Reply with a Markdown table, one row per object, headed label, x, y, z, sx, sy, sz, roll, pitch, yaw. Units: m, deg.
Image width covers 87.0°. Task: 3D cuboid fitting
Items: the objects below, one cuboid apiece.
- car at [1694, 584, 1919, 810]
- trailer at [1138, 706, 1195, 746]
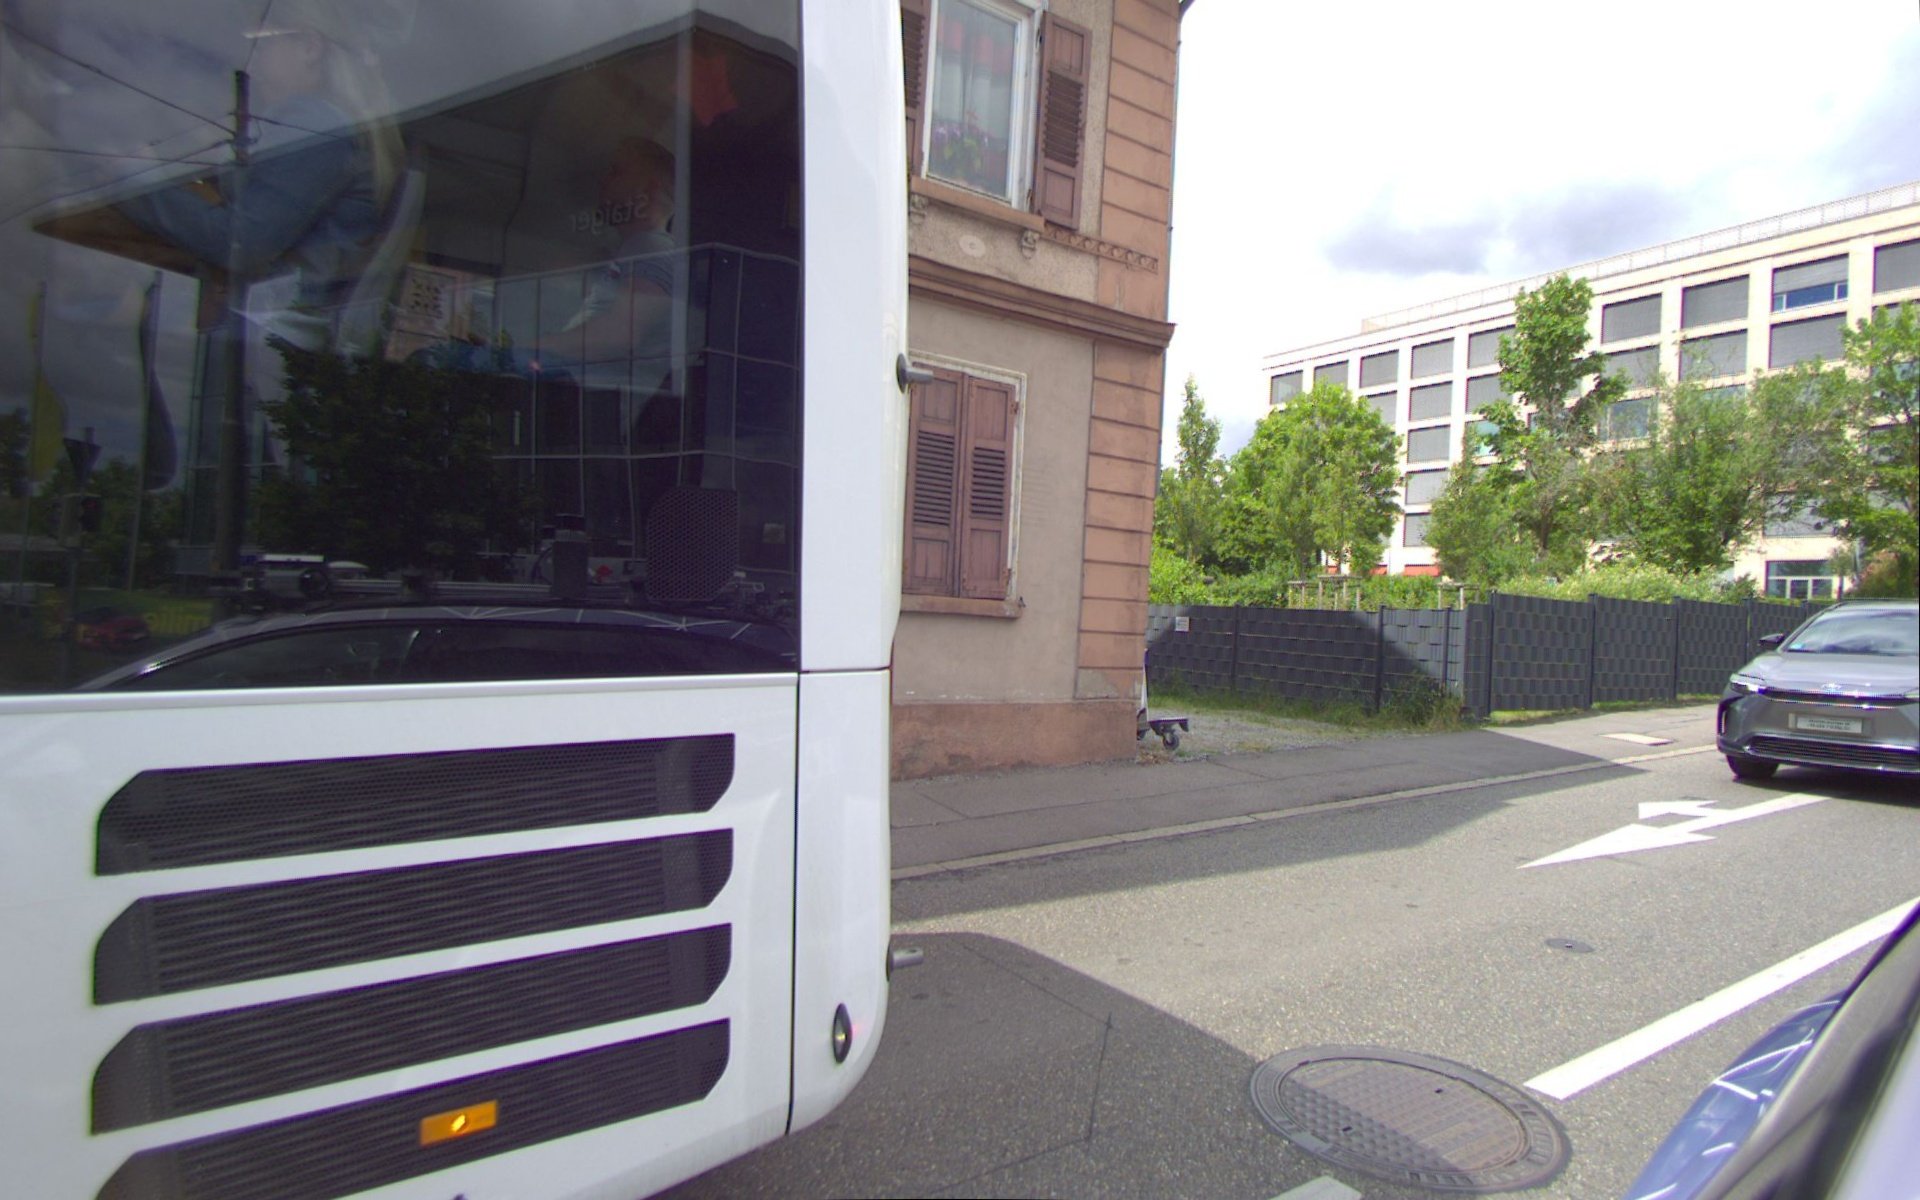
| label | x | y | z | sx | sy | sz | roll | pitch | yaw |
| --- | --- | --- | --- | --- | --- | --- | --- | --- | --- |
| car | 8.699 | 0.719 | 9.048 | 4.491 | 1.649 | 2.001 | 0 | 1 | -33 |
| trailer | 1.935 | 1.179 | 9.519 | 0.467 | 0.324 | 0.358 | 1 | 0 | 3 |
